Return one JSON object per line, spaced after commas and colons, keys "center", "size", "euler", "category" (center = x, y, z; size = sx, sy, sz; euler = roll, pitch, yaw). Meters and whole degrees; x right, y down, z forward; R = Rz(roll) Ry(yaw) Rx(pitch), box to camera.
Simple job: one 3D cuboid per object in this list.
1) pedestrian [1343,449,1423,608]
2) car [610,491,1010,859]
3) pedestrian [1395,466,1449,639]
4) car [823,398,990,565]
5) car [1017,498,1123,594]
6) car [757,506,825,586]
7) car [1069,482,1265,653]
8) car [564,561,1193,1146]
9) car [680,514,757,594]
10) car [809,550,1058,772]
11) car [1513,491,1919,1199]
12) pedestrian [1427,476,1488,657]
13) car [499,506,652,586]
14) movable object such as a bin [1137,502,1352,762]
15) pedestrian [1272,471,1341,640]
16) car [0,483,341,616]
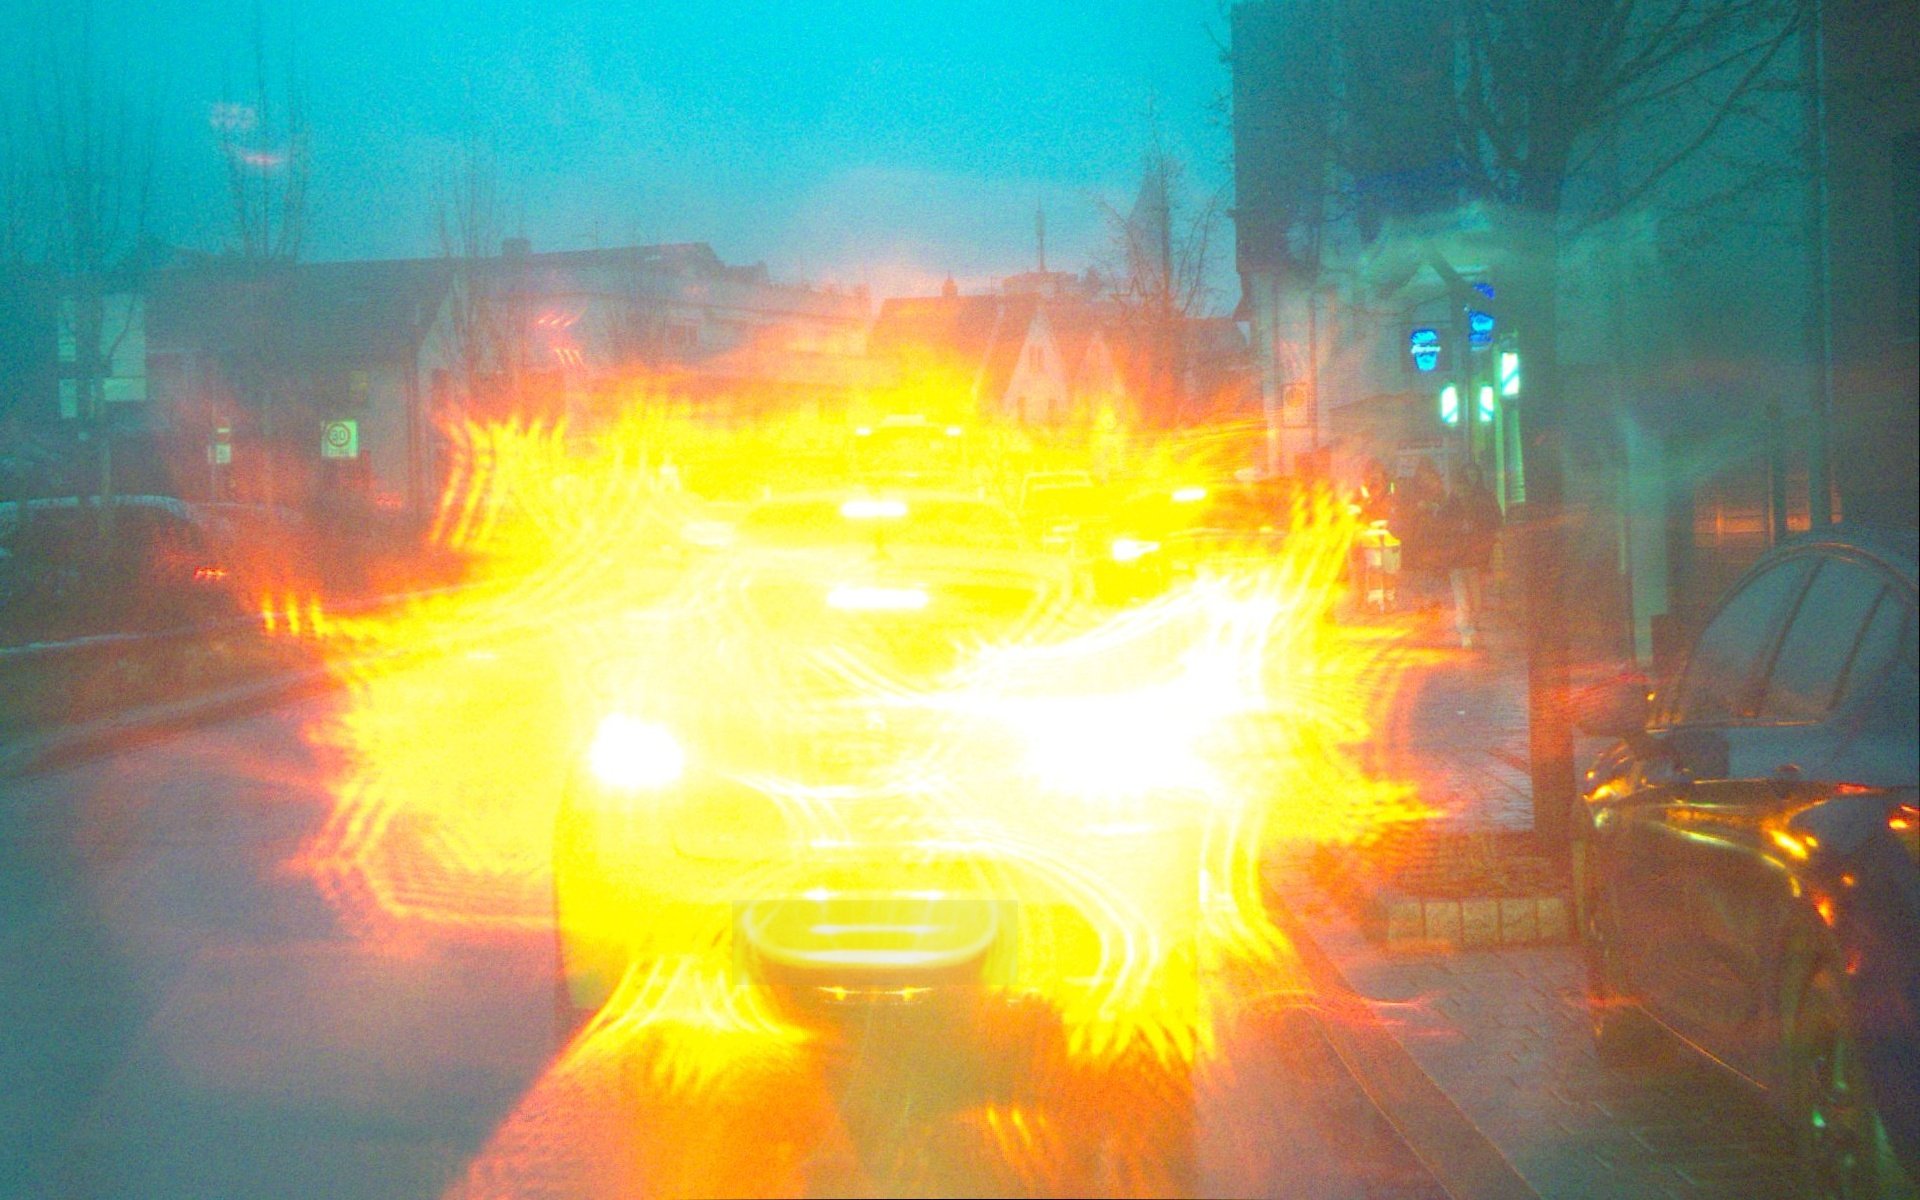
{"center": [4.686, -0.799, 38.053], "size": [0.712, 1.709, 1.034], "euler": [-2, 2, 13], "category": "pedestrian"}
{"center": [-0.683, 0.284, 17.064], "size": [1.766, 1.623, 3.586], "euler": [0, 2, 0], "category": "car"}
{"center": [4.878, -0.509, 36.252], "size": [0.529, 1.794, 0.864], "euler": [0, 2, 10], "category": "pedestrian"}
{"center": [-1.119, -2.305, 68.978], "size": [3.190, 3.021, 6.305], "euler": [0, -1, -2], "category": "car"}
{"center": [2.167, -1.076, 68.907], "size": [1.997, 1.858, 4.083], "euler": [0, 1, 0], "category": "car"}
{"center": [-4.879, -1.548, 99.695], "size": [1.919, 2.208, 3.975], "euler": [0, -1, -2], "category": "car"}
{"center": [2.160, -0.376, 36.887], "size": [1.735, 1.686, 4.387], "euler": [-1, 1, -1], "category": "car"}
{"center": [-0.213, 0.619, 10.097], "size": [1.563, 1.408, 3.018], "euler": [0, 1, 0], "category": "car"}
{"center": [-6.435, -1.205, 91.814], "size": [1.919, 2.020, 3.975], "euler": [0, -1, -2], "category": "car"}
{"center": [-0.177, 0.355, 23.028], "size": [1.541, 1.327, 3.311], "euler": [0, 2, 0], "category": "car"}
{"center": [2.432, 0.508, 7.764], "size": [1.728, 1.459, 4.199], "euler": [-4, 2, 2], "category": "car"}
{"center": [4.616, -0.301, 31.867], "size": [0.529, 1.647, 0.953], "euler": [0, -1, 10], "category": "pedestrian"}
{"center": [-11.031, -1.524, 98.451], "size": [4.383, 2.159, 1.995], "euler": [0, -1, 44], "category": "car"}
{"center": [1.687, 0.168, 20.658], "size": [1.129, 1.415, 1.417], "euler": [-4, 2, 2], "category": "movable object such as a bin"}
{"center": [3.565, -0.459, 35.400], "size": [0.573, 1.694, 0.653], "euler": [-3, 1, 1], "category": "pedestrian"}
{"center": [-10.495, -0.652, 44.555], "size": [4.625, 1.662, 2.000], "euler": [0, 1, -2], "category": "car"}
